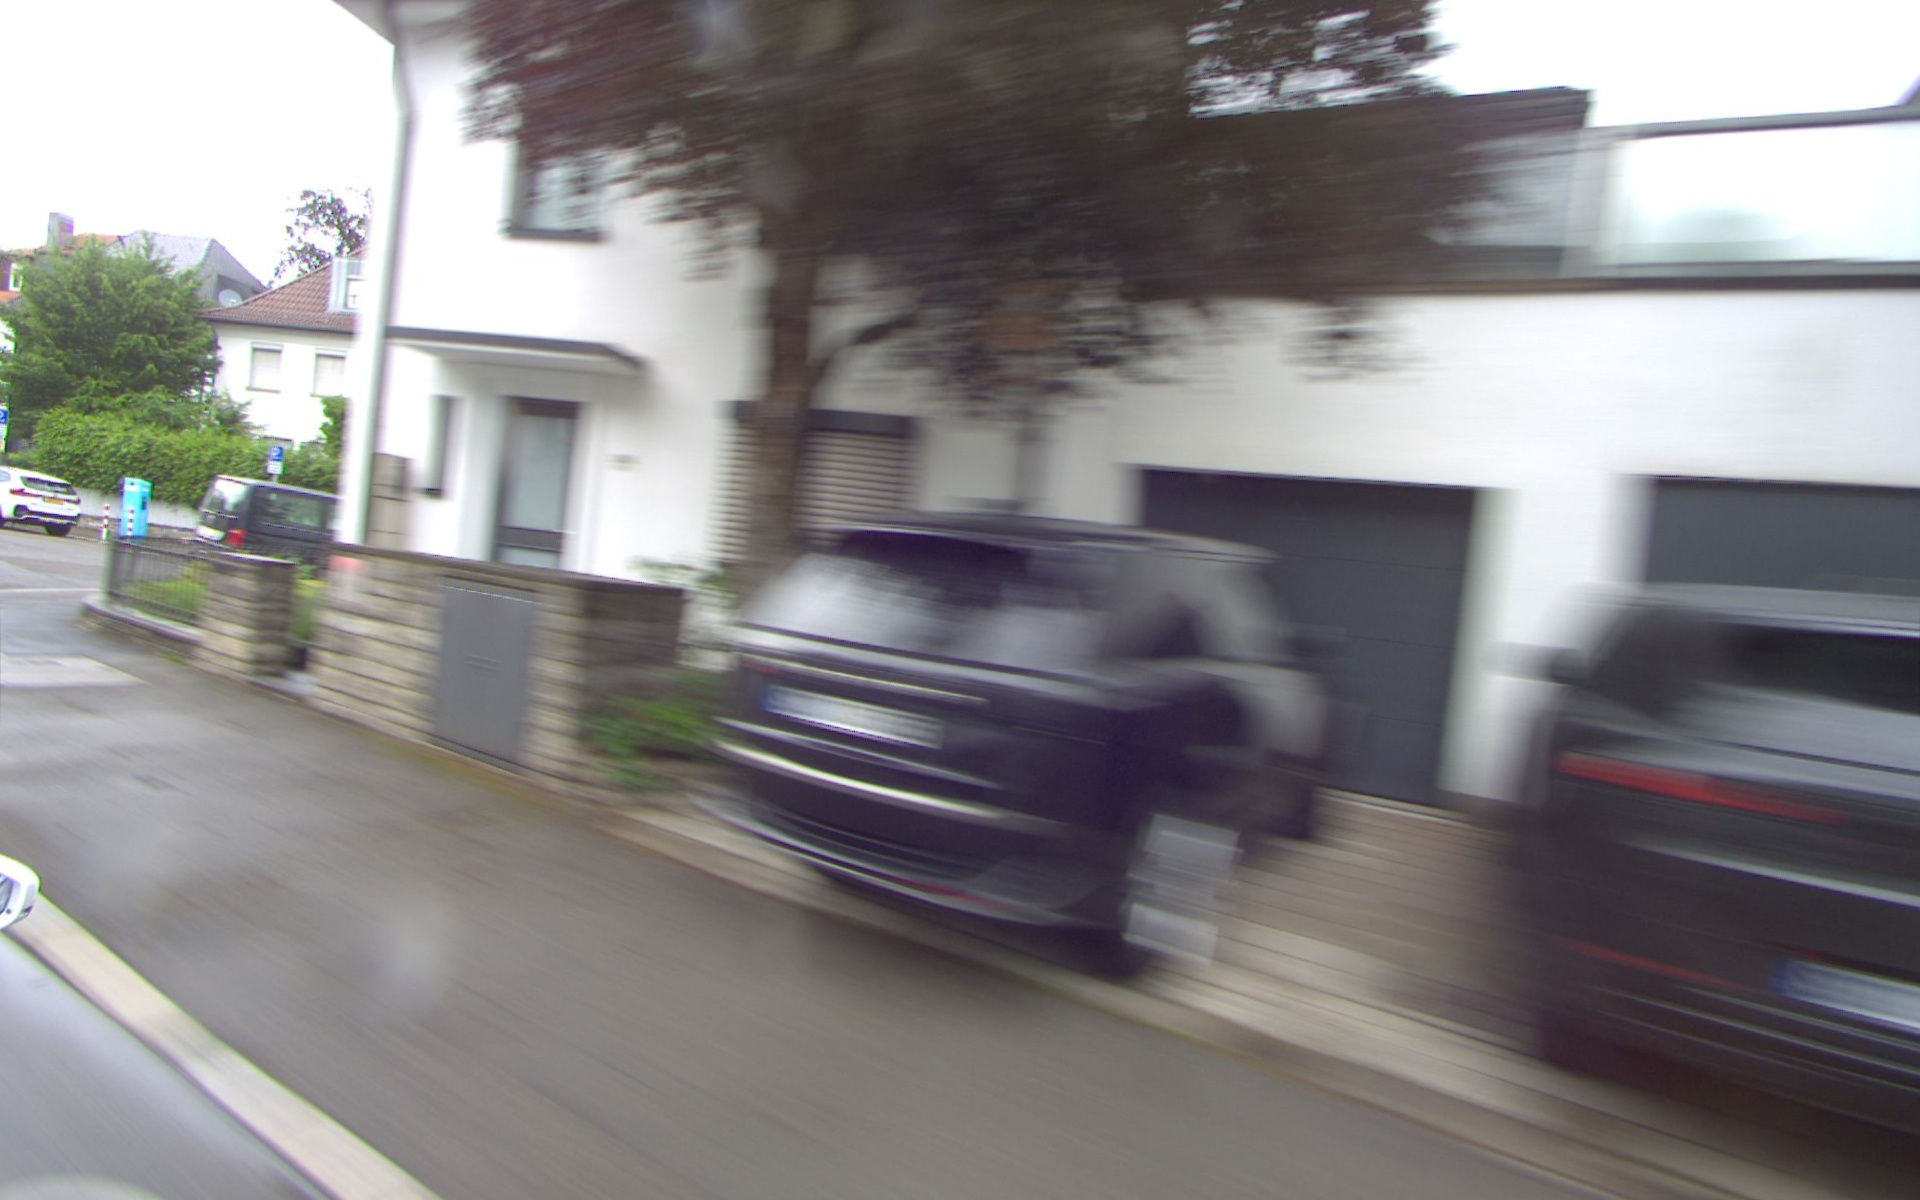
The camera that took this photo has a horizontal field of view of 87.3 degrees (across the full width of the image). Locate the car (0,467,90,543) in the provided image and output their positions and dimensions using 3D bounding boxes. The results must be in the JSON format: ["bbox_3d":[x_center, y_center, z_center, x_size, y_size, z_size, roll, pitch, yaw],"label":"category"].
[{"bbox_3d":[-26.330,-2.769,27.163,4.559,1.692,1.751,8,-1,12],"label":"car"}]

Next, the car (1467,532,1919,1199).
[{"bbox_3d":[3.444,0.844,4.401,1.908,1.834,4.454,7,3,28],"label":"car"}]

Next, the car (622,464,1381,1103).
[{"bbox_3d":[0.773,0.524,5.459,1.910,1.834,4.730,7,3,31],"label":"car"}]

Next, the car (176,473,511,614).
[{"bbox_3d":[-11.391,-0.964,18.959,1.911,1.972,4.907,7,0,36],"label":"car"}]
